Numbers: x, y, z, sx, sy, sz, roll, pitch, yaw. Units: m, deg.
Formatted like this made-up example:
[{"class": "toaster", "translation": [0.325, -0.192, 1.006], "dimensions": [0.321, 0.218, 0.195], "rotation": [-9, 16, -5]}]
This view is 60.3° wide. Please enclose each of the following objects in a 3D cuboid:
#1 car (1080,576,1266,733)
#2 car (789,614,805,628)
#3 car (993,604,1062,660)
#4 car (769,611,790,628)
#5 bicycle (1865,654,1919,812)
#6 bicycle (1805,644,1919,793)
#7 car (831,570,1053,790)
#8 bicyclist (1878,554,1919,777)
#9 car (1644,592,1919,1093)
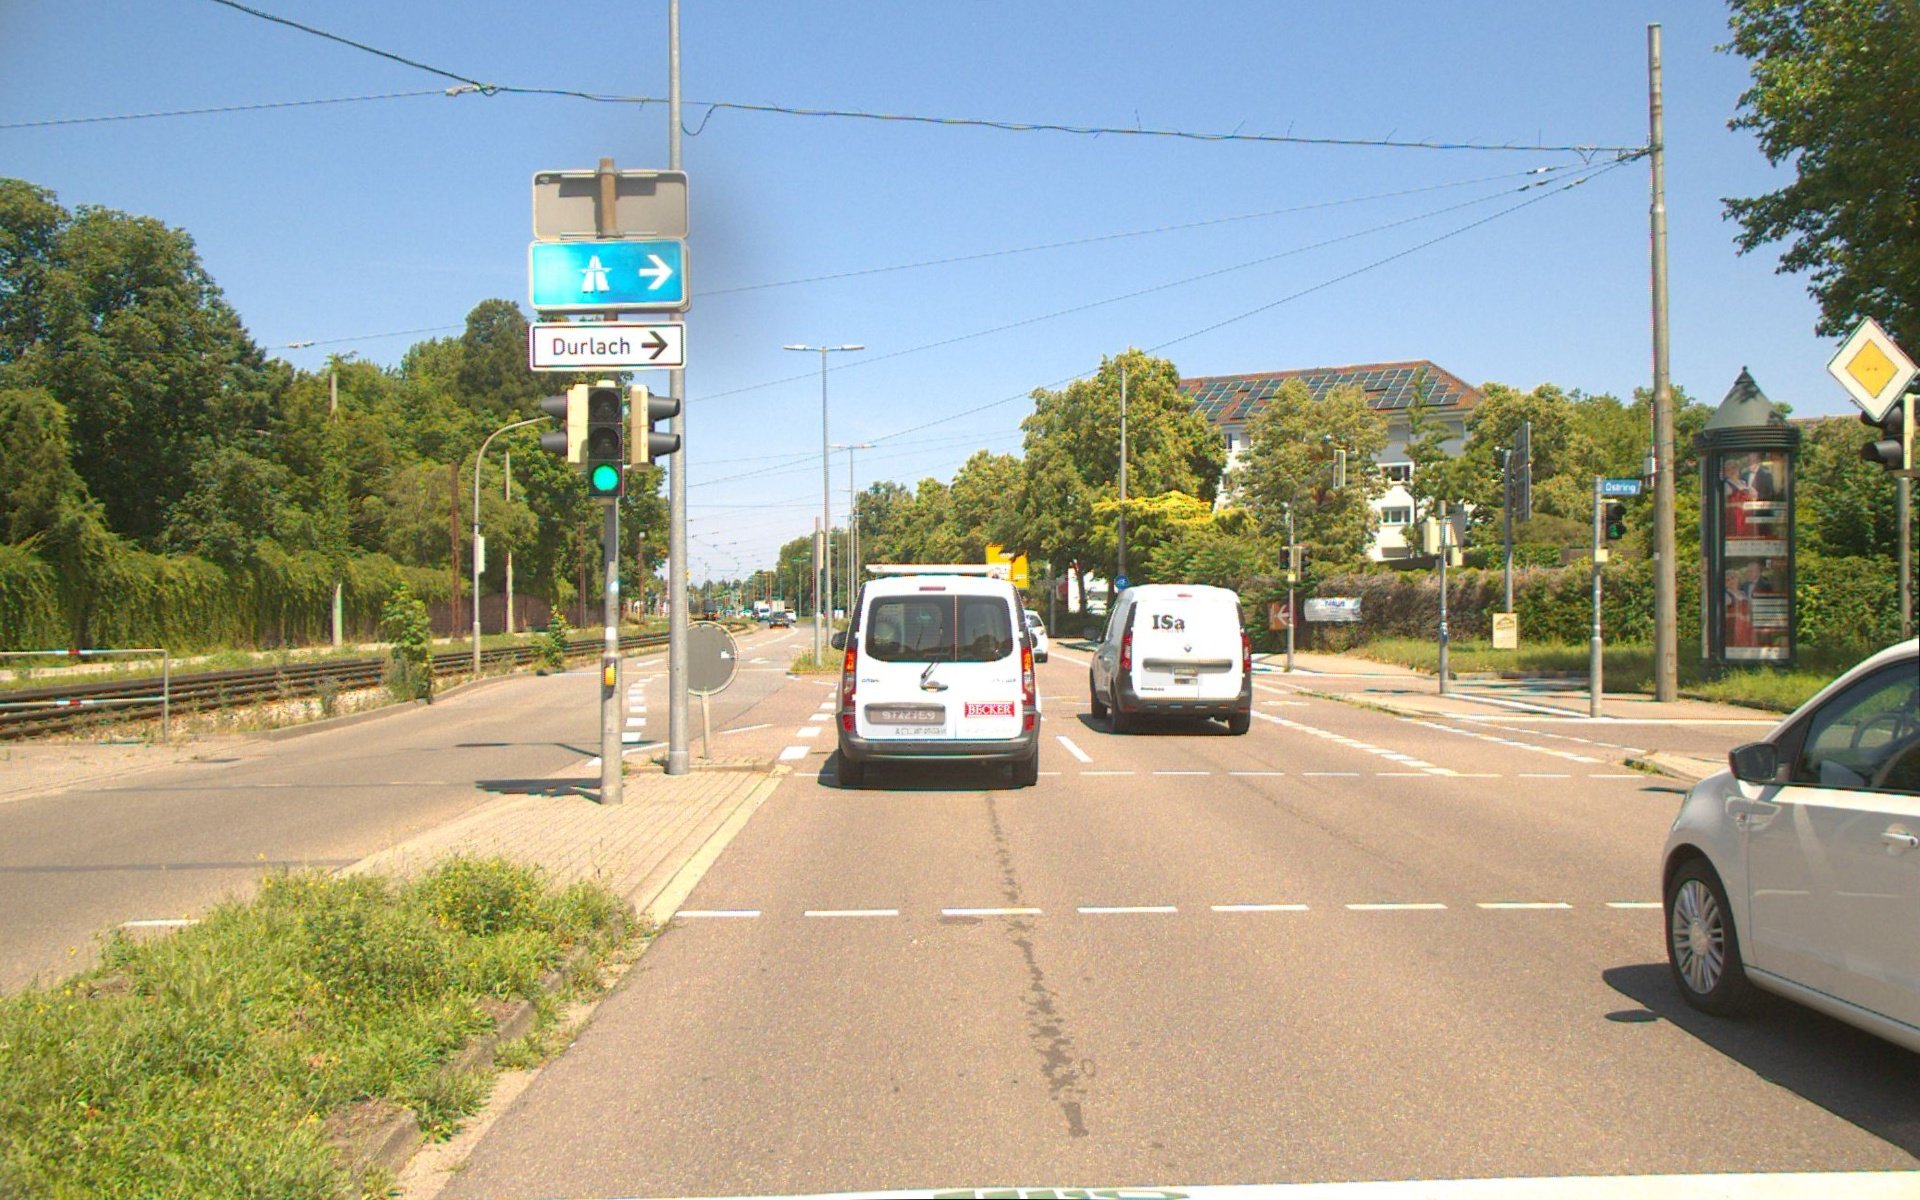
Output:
[{"class": "car", "translation": [2.662, 0.661, 21.495], "dimensions": [1.693, 1.820, 4.062], "rotation": [1, -1, -3]}, {"class": "car", "translation": [-22.093, 2.878, 223.984], "dimensions": [1.954, 1.847, 3.998], "rotation": [0, 0, -3]}, {"class": "car", "translation": [2.009, 0.943, 50.245], "dimensions": [1.798, 1.596, 3.999], "rotation": [1, 0, -2]}, {"class": "car", "translation": [-16.961, 1.829, 155.515], "dimensions": [1.663, 1.539, 4.063], "rotation": [-1, 0, -3]}, {"class": "bicycle", "translation": [7.993, 0.996, 12.492], "dimensions": [1.827, 1.144, 0.895], "rotation": [0, -1, 6]}, {"class": "bicycle", "translation": [8.176, 0.957, 13.680], "dimensions": [1.909, 1.179, 0.895], "rotation": [0, -1, 1]}, {"class": "car", "translation": [-0.209, 0.661, 15.645], "dimensions": [1.784, 1.770, 4.394], "rotation": [1, 0, -2]}, {"class": "bicyclist", "translation": [8.215, 0.538, 13.665], "dimensions": [0.709, 1.819, 0.976], "rotation": [0, -1, 1]}, {"class": "car", "translation": [3.620, 0.729, 5.040], "dimensions": [1.577, 1.473, 3.435], "rotation": [1, 0, -1]}]
